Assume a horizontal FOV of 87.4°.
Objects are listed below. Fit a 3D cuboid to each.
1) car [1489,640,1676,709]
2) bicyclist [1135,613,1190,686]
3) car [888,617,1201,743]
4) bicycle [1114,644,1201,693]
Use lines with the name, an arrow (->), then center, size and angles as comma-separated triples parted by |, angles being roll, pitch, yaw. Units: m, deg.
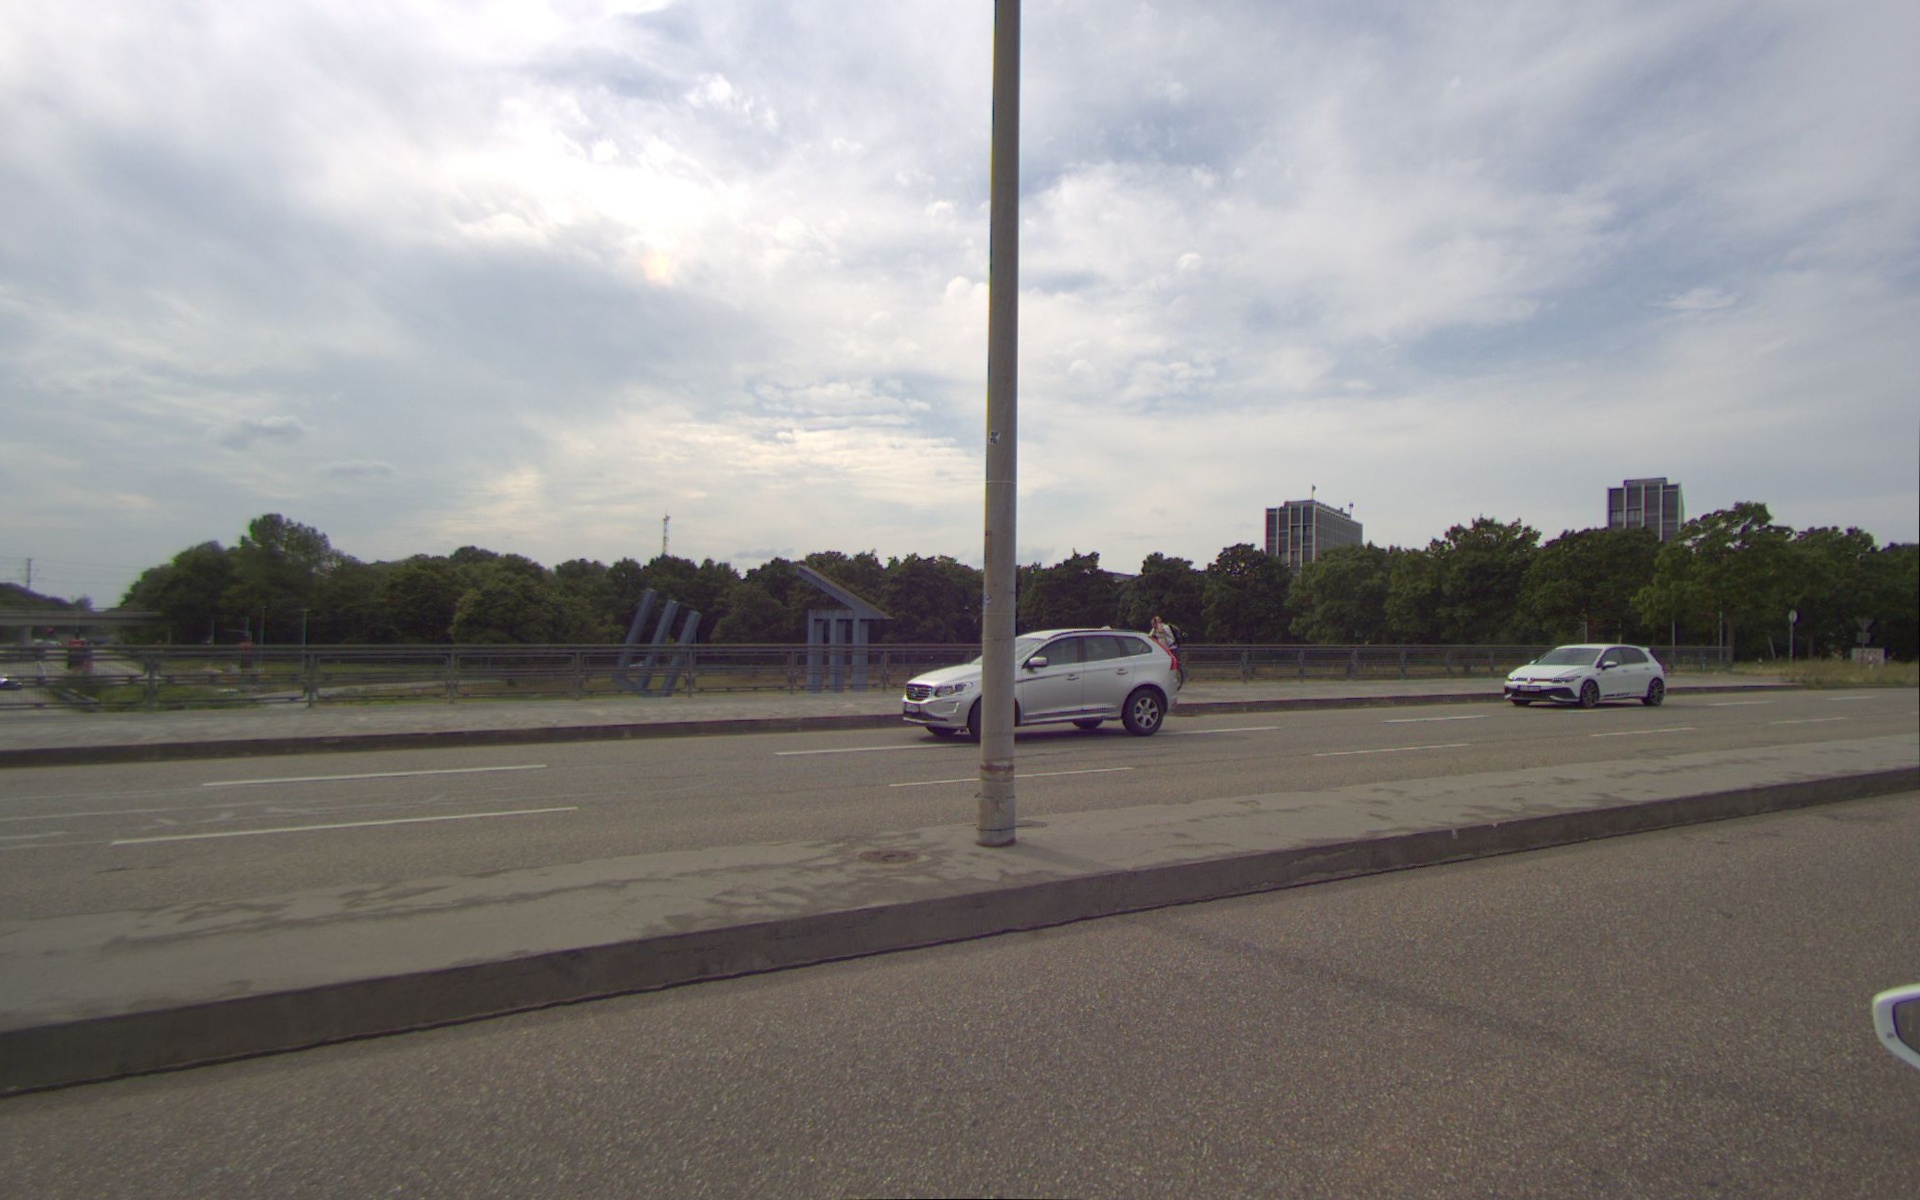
car -> 14.742, 1.719, 23.756 | 4.414, 1.500, 1.732 | 1, -3, -28
bicyclist -> 4.735, 1.149, 23.468 | 0.965, 1.648, 0.791 | 1, 0, -31
car -> 1.376, 1.208, 15.893 | 4.710, 1.747, 1.856 | 1, -3, -28
bicycle -> 4.615, 1.583, 23.391 | 2.036, 1.063, 0.702 | 2, -1, -31
